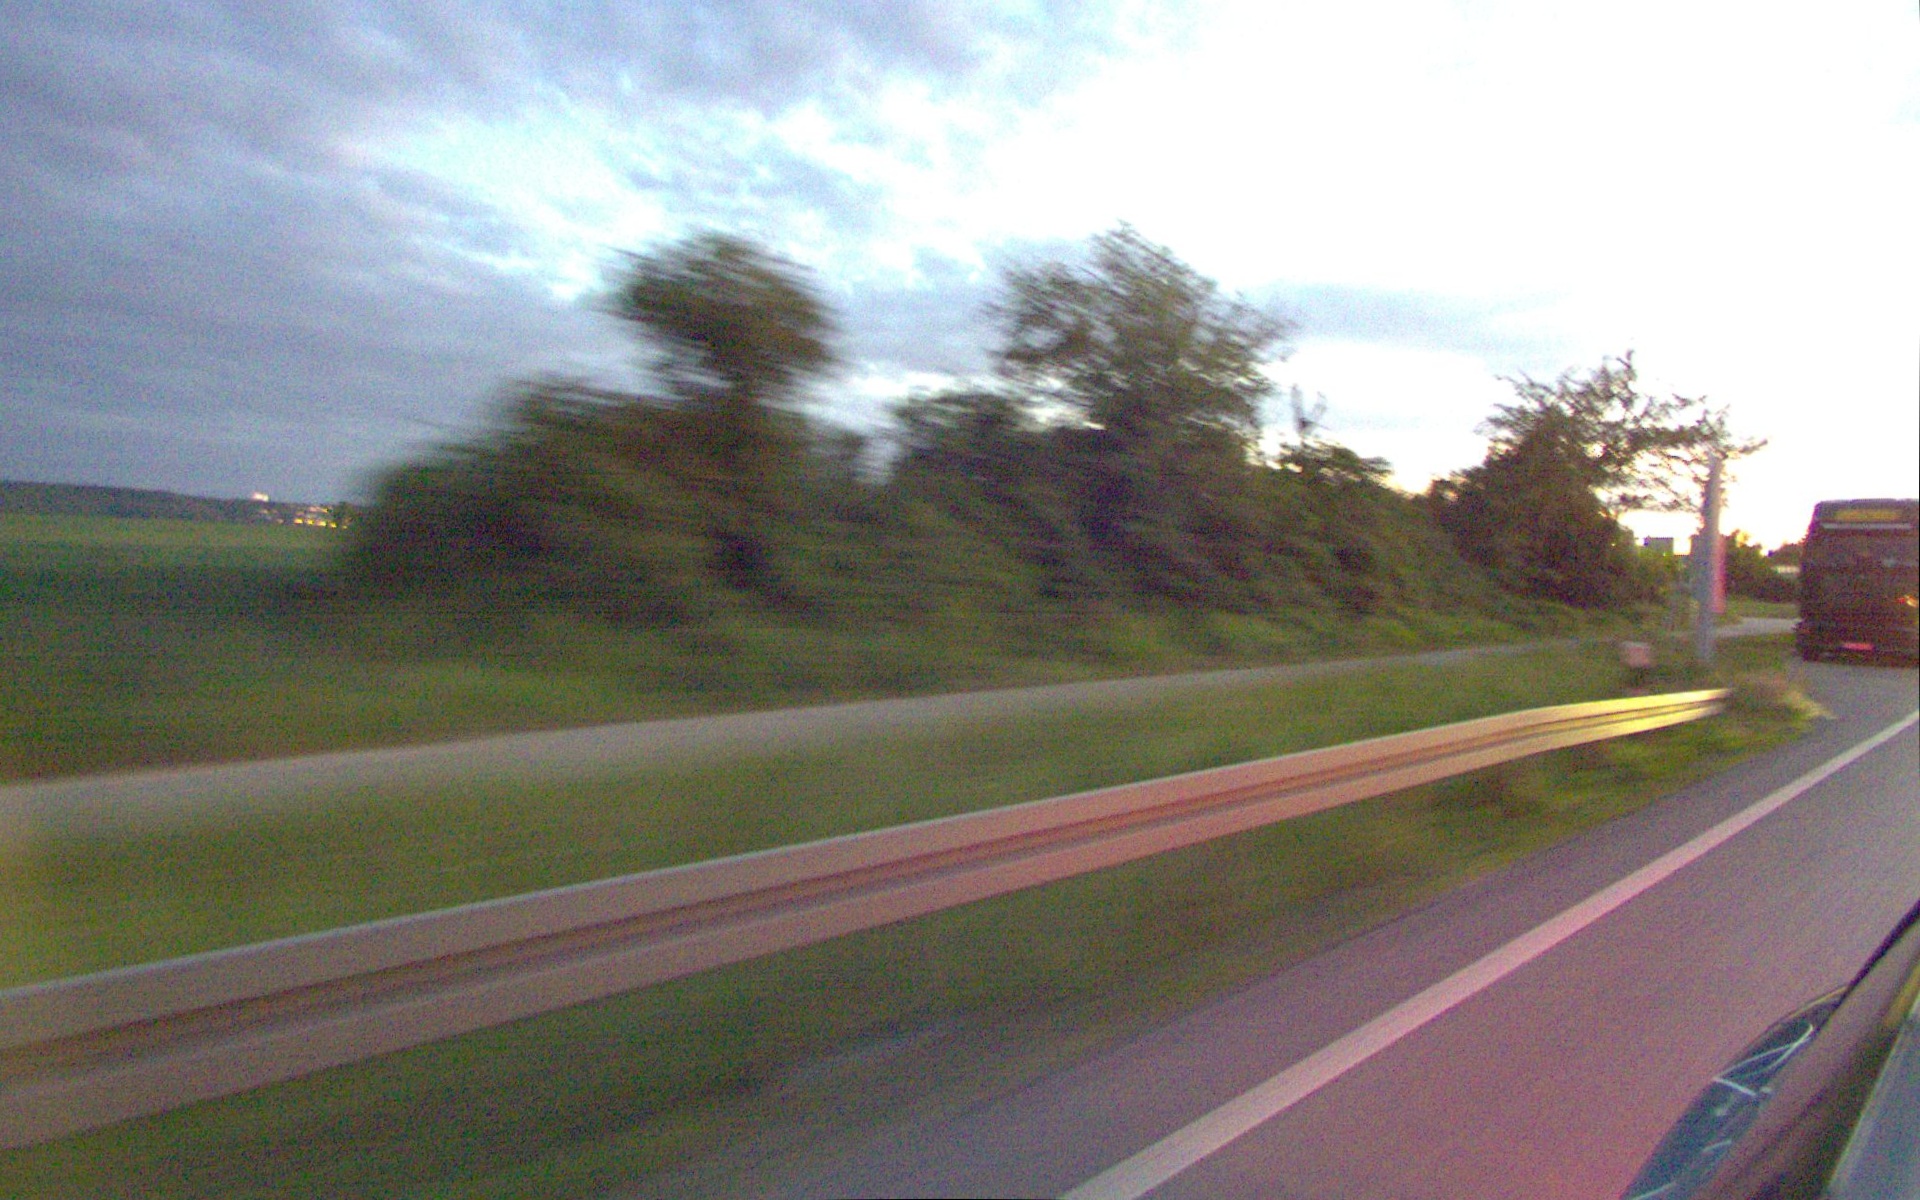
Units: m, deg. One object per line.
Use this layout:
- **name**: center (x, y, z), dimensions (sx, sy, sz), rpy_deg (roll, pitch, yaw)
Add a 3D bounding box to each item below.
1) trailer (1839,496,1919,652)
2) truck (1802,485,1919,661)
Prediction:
- **trailer**: center (28.400, -0.700, 29.350), dimensions (12.447, 3.859, 2.473), rpy_deg (-1, 0, -40)
- **truck**: center (22.614, -0.627, 24.469), dimensions (5.400, 3.847, 2.490), rpy_deg (-1, 1, -39)
